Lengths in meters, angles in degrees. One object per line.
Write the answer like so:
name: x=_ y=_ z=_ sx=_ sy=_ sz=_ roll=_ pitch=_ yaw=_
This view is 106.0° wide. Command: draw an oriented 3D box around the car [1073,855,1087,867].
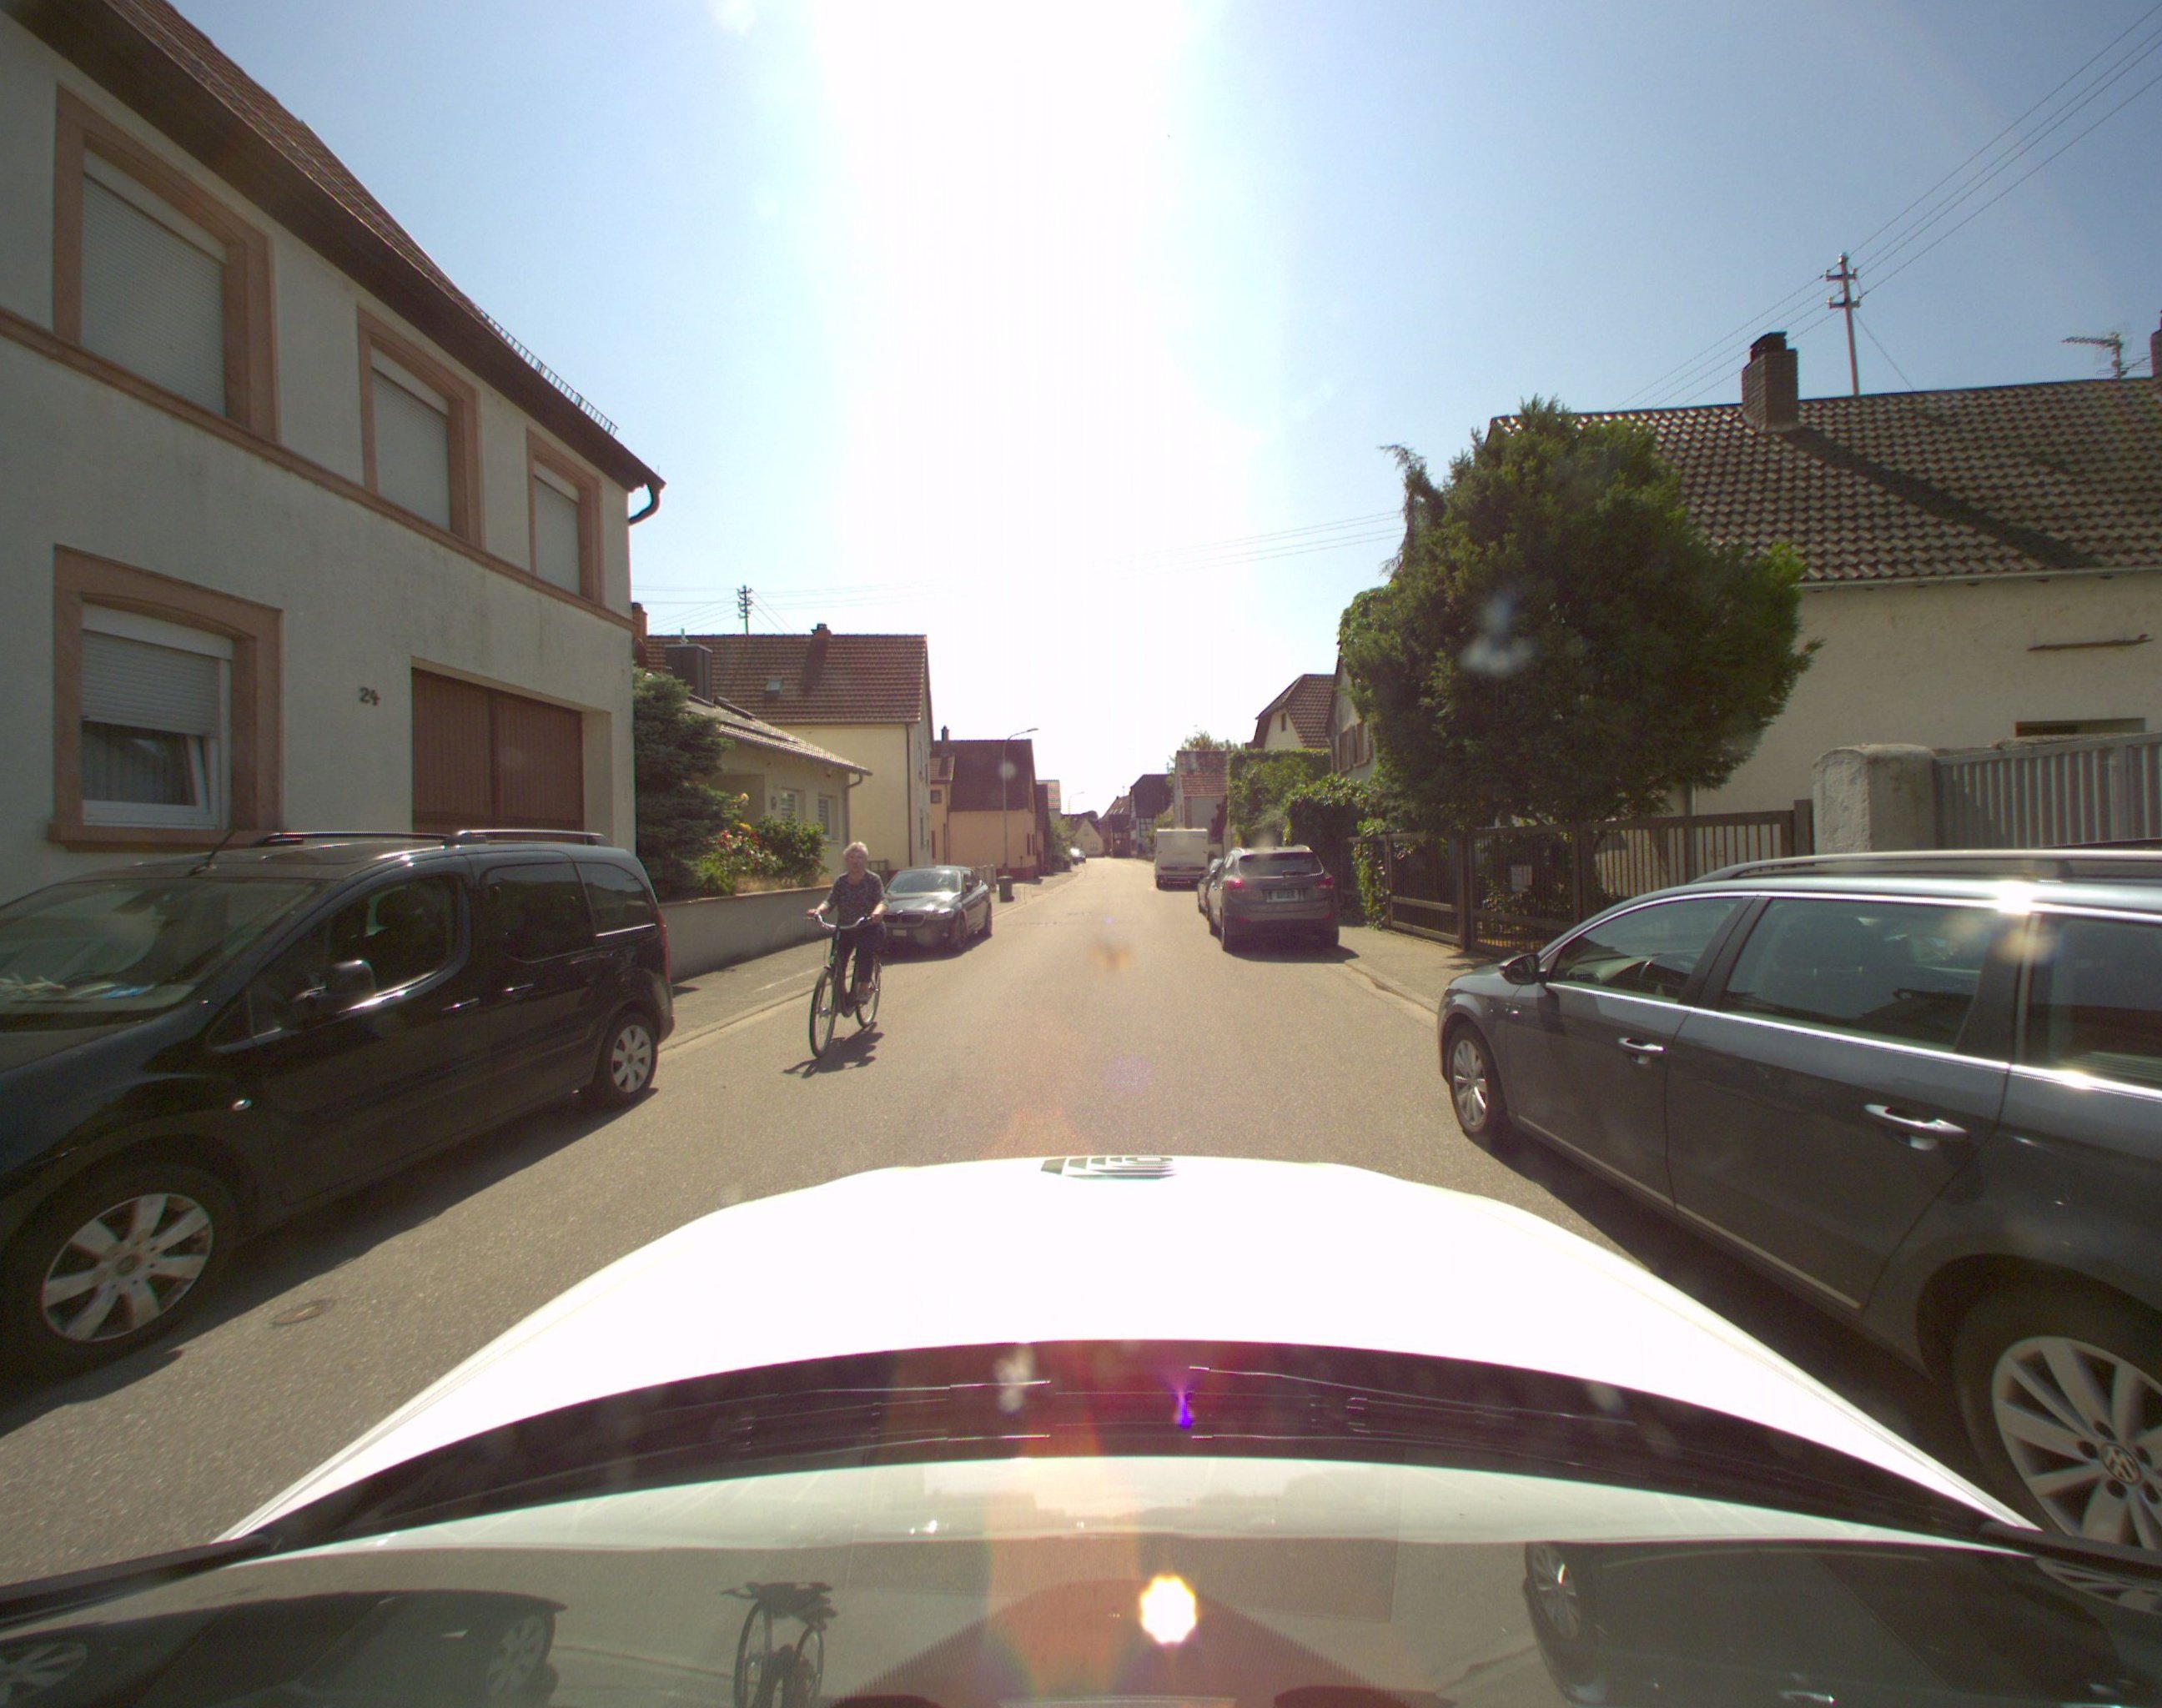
car: x=-0.113 y=0.819 z=101.900 sx=1.505 sy=1.436 sz=3.514 roll=-3 pitch=0 yaw=3

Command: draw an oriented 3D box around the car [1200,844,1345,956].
car: x=3.189 y=0.678 z=14.385 sx=1.785 sy=1.631 sz=4.366 roll=-2 pitch=0 yaw=4

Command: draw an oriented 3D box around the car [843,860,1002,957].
car: x=-2.847 y=0.921 z=15.791 sx=1.836 sy=1.527 sz=4.770 roll=-1 pitch=0 yaw=4

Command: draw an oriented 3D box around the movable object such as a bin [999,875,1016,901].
movable object such as a bin: x=-2.783 y=1.276 z=30.849 sx=0.537 sy=0.949 sz=0.553 roll=-1 pitch=0 yaw=2

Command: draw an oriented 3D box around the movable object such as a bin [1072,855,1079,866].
movable object such as a bin: x=-0.554 y=0.696 z=89.407 sx=0.686 sy=1.185 sz=0.715 roll=-3 pitch=0 yaw=2

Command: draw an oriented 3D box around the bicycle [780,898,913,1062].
bicycle: x=-2.030 y=1.036 z=7.325 sx=0.587 sy=1.148 sz=1.948 roll=-3 pitch=0 yaw=0

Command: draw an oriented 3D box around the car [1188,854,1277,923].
car: x=3.677 y=0.782 z=20.374 sx=1.704 sy=1.464 sz=4.069 roll=-2 pitch=0 yaw=4

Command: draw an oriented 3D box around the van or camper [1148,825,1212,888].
van or camper: x=4.545 y=0.108 z=38.194 sx=2.512 sy=2.697 sz=4.557 roll=-2 pitch=0 yaw=2

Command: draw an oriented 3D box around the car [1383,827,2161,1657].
car: x=2.911 y=0.688 z=3.232 sx=1.812 sy=1.508 sz=4.583 roll=-2 pitch=0 yaw=2

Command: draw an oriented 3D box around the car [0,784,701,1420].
car: x=-3.951 y=0.744 z=4.035 sx=1.827 sy=1.837 sz=4.357 roll=-2 pitch=0 yaw=3

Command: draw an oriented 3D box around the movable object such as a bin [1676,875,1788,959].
movable object such as a bin: x=7.936 y=0.755 z=9.956 sx=0.879 sy=0.949 sz=0.569 roll=-3 pitch=0 yaw=0

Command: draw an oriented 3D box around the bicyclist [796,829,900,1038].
bicyclist: x=-2.076 y=0.681 z=7.324 sx=0.701 sy=1.771 sz=0.624 roll=-2 pitch=0 yaw=-1
